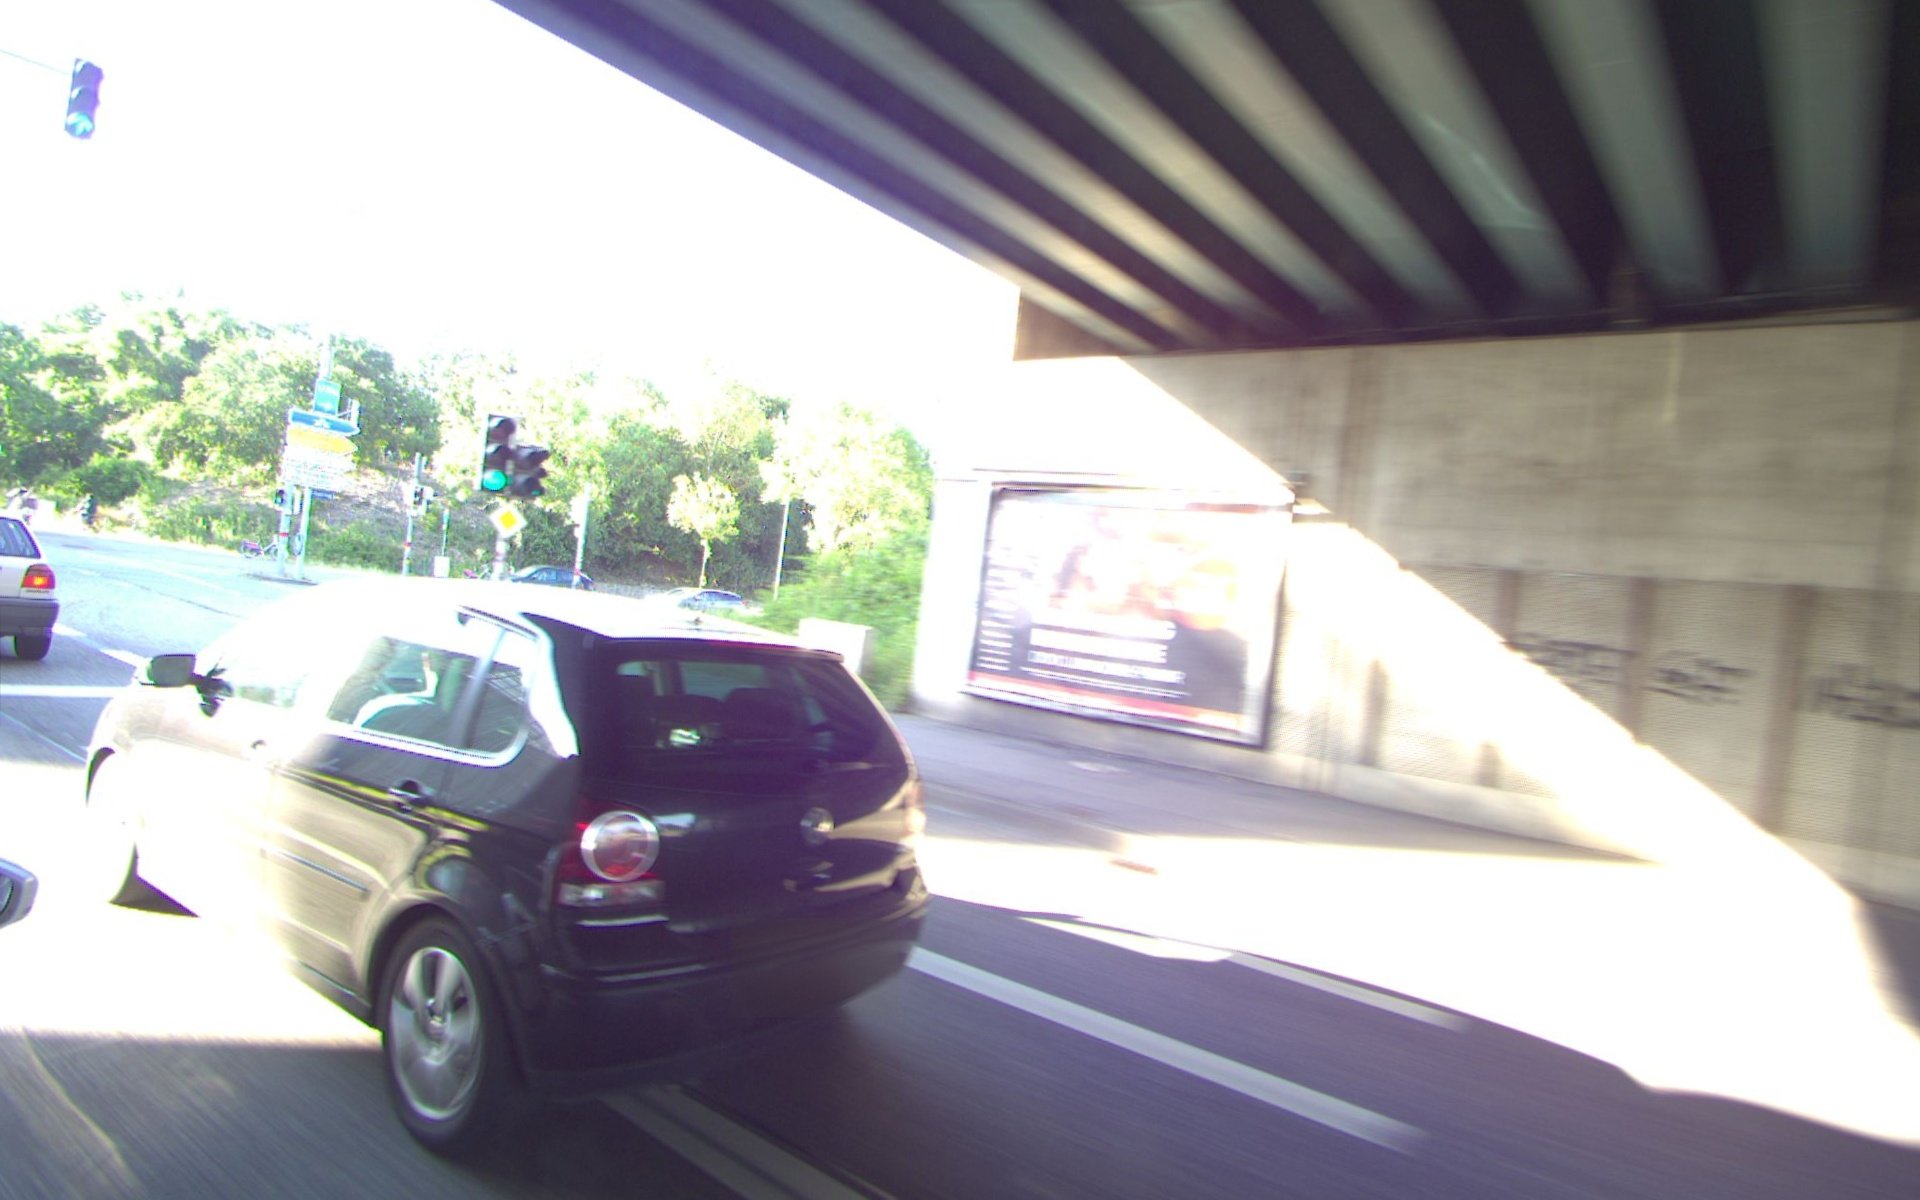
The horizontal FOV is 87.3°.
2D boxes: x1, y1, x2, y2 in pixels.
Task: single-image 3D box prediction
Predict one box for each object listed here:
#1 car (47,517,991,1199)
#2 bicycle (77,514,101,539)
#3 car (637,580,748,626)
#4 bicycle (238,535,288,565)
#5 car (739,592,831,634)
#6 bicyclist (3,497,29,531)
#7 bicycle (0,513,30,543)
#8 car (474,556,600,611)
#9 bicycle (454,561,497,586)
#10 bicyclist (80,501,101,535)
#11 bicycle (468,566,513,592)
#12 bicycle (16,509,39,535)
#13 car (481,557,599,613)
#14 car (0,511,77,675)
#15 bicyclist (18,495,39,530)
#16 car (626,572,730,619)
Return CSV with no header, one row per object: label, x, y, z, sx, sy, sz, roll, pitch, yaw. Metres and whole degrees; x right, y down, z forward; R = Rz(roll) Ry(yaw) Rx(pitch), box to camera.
car,-1.894,0.581,3.883,3.627,1.425,1.618,6,-3,36
bicycle,-36.222,-3.051,41.846,1.011,0.925,0.438,6,-2,36
car,-11.911,0.152,45.058,2.013,1.423,4.325,5,-3,41
bicycle,-29.778,-2.132,42.977,1.654,1.004,0.571,7,2,-38
car,-9.197,0.701,53.142,2.013,1.585,4.325,5,-3,41
bicyclist,-39.728,-3.621,42.335,0.822,1.331,0.544,6,-2,36
bicycle,-39.760,-3.046,42.291,1.596,1.125,0.565,6,-2,36
car,-16.478,-0.619,39.297,1.973,1.547,3.985,5,-3,41
bicycle,-24.244,-1.313,50.356,1.786,0.991,0.632,9,-3,-41
bicyclist,-36.201,-3.407,41.873,0.453,1.323,0.428,6,-2,36
bicycle,-23.112,-1.048,49.549,1.786,0.992,0.632,9,-1,-41
bicycle,-35.536,-2.972,38.334,1.011,0.926,0.437,6,1,36
car,-17.352,-0.585,41.704,1.837,1.712,3.985,5,-3,41
car,-10.359,-0.262,9.823,3.998,1.429,1.581,6,-3,35
bicyclist,-35.506,-3.336,38.339,0.453,1.248,0.427,6,0,36
car,-13.546,-0.188,48.486,2.013,1.585,4.325,5,-3,41
